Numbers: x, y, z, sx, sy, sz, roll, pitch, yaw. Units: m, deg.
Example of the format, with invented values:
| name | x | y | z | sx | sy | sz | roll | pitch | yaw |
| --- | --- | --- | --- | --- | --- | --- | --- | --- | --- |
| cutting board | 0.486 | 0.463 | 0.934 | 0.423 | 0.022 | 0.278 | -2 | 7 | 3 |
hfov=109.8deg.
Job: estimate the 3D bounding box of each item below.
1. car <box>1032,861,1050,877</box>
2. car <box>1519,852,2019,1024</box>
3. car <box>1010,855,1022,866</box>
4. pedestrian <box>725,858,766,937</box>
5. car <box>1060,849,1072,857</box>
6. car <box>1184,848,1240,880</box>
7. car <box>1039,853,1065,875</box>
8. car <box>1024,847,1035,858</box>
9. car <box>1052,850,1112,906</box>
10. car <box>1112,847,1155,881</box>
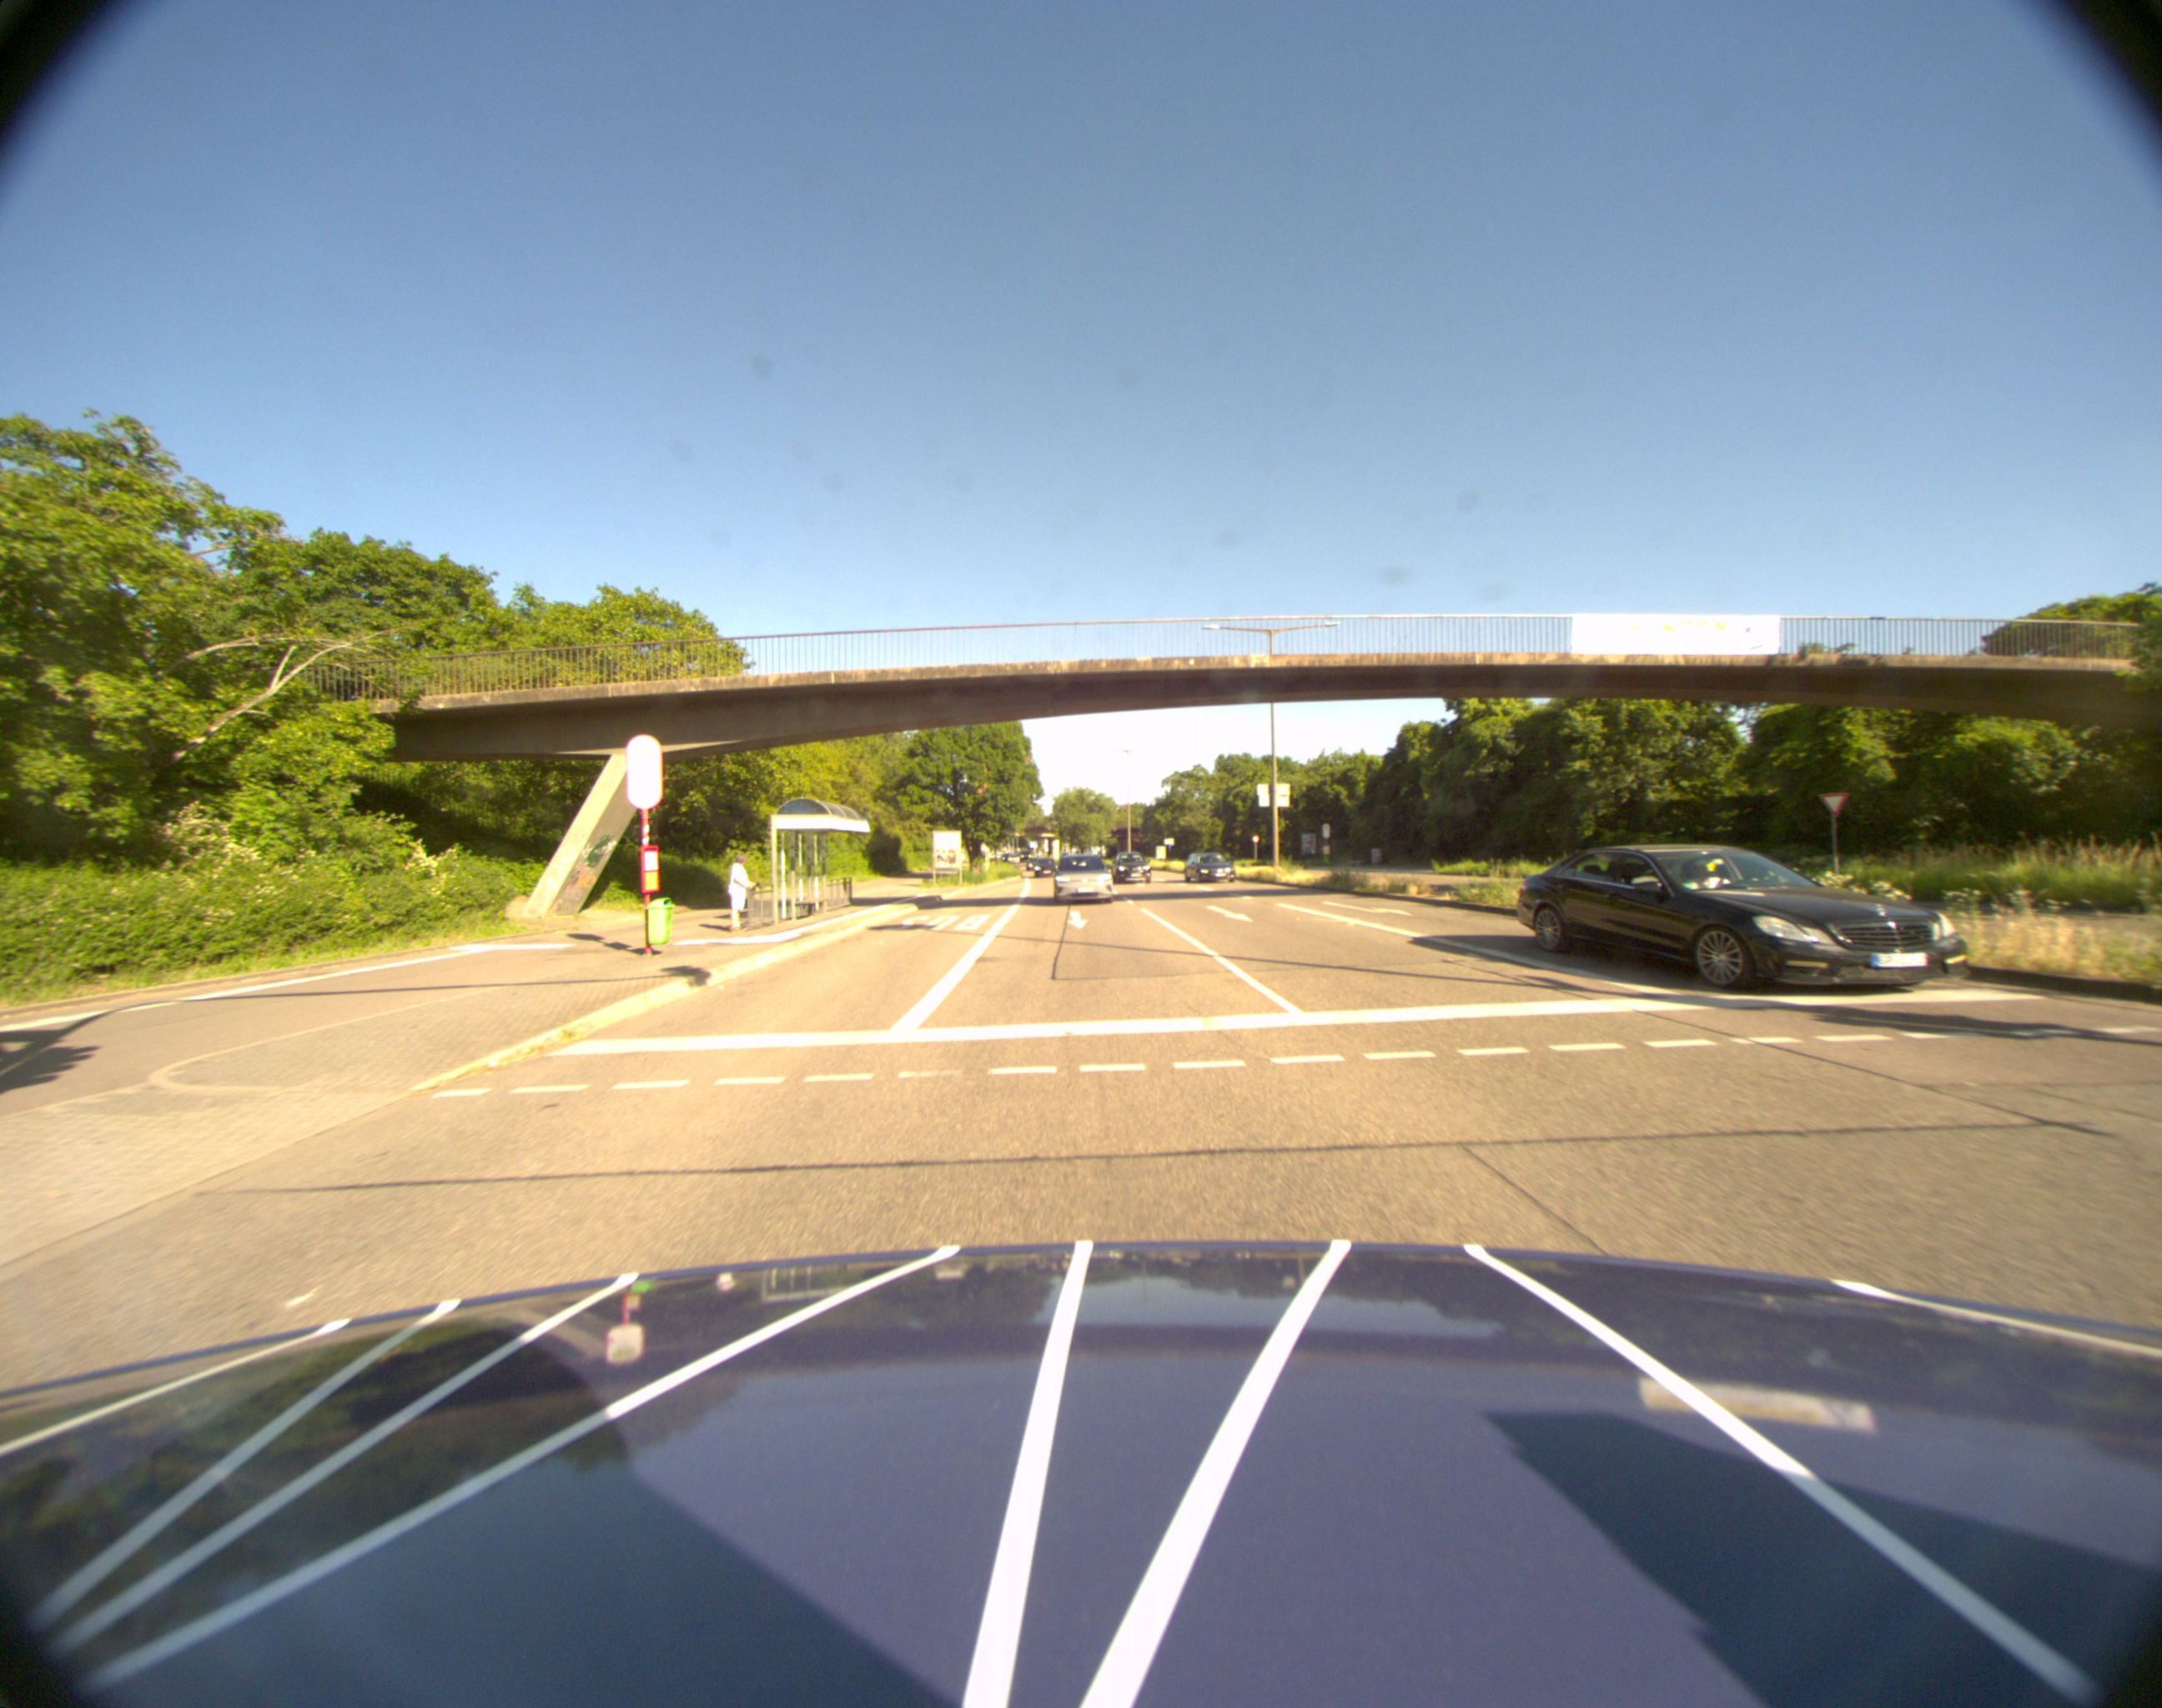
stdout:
| name | x | y | z | sx | sy | sz | roll | pitch | yaw |
| --- | --- | --- | --- | --- | --- | --- | --- | --- | --- |
| car | -4.292 | 1.575 | 81.605 | 1.874 | 1.611 | 3.835 | -2 | 0 | -3 |
| car | 7.341 | 0.734 | 8.924 | 1.778 | 1.478 | 4.529 | -1 | 0 | 0 |
| car | -10.554 | 1.047 | 123.268 | 1.874 | 1.611 | 3.834 | -2 | 0 | -6 |
| pedestrian | -7.229 | 0.926 | 16.401 | 0.589 | 1.652 | 0.716 | 0 | 0 | -4 |
| car | -3.184 | -0.215 | 159.051 | 1.875 | 1.611 | 3.832 | -2 | 1 | -10 |
| car | 6.548 | 0.468 | 38.369 | 1.796 | 1.487 | 3.999 | -1 | 0 | -6 |
| car | -2.282 | 0.759 | 58.709 | 1.874 | 1.611 | 3.835 | -2 | 0 | -3 |
| car | -10.062 | -0.354 | 147.517 | 1.999 | 2.002 | 3.998 | -2 | 1 | -5 |
| car | 0.085 | 0.757 | 25.536 | 1.801 | 1.664 | 4.240 | -2 | 0 | 1 |
| car | 2.765 | 0.506 | 40.640 | 1.714 | 1.653 | 3.855 | -3 | 0 | -4 |
